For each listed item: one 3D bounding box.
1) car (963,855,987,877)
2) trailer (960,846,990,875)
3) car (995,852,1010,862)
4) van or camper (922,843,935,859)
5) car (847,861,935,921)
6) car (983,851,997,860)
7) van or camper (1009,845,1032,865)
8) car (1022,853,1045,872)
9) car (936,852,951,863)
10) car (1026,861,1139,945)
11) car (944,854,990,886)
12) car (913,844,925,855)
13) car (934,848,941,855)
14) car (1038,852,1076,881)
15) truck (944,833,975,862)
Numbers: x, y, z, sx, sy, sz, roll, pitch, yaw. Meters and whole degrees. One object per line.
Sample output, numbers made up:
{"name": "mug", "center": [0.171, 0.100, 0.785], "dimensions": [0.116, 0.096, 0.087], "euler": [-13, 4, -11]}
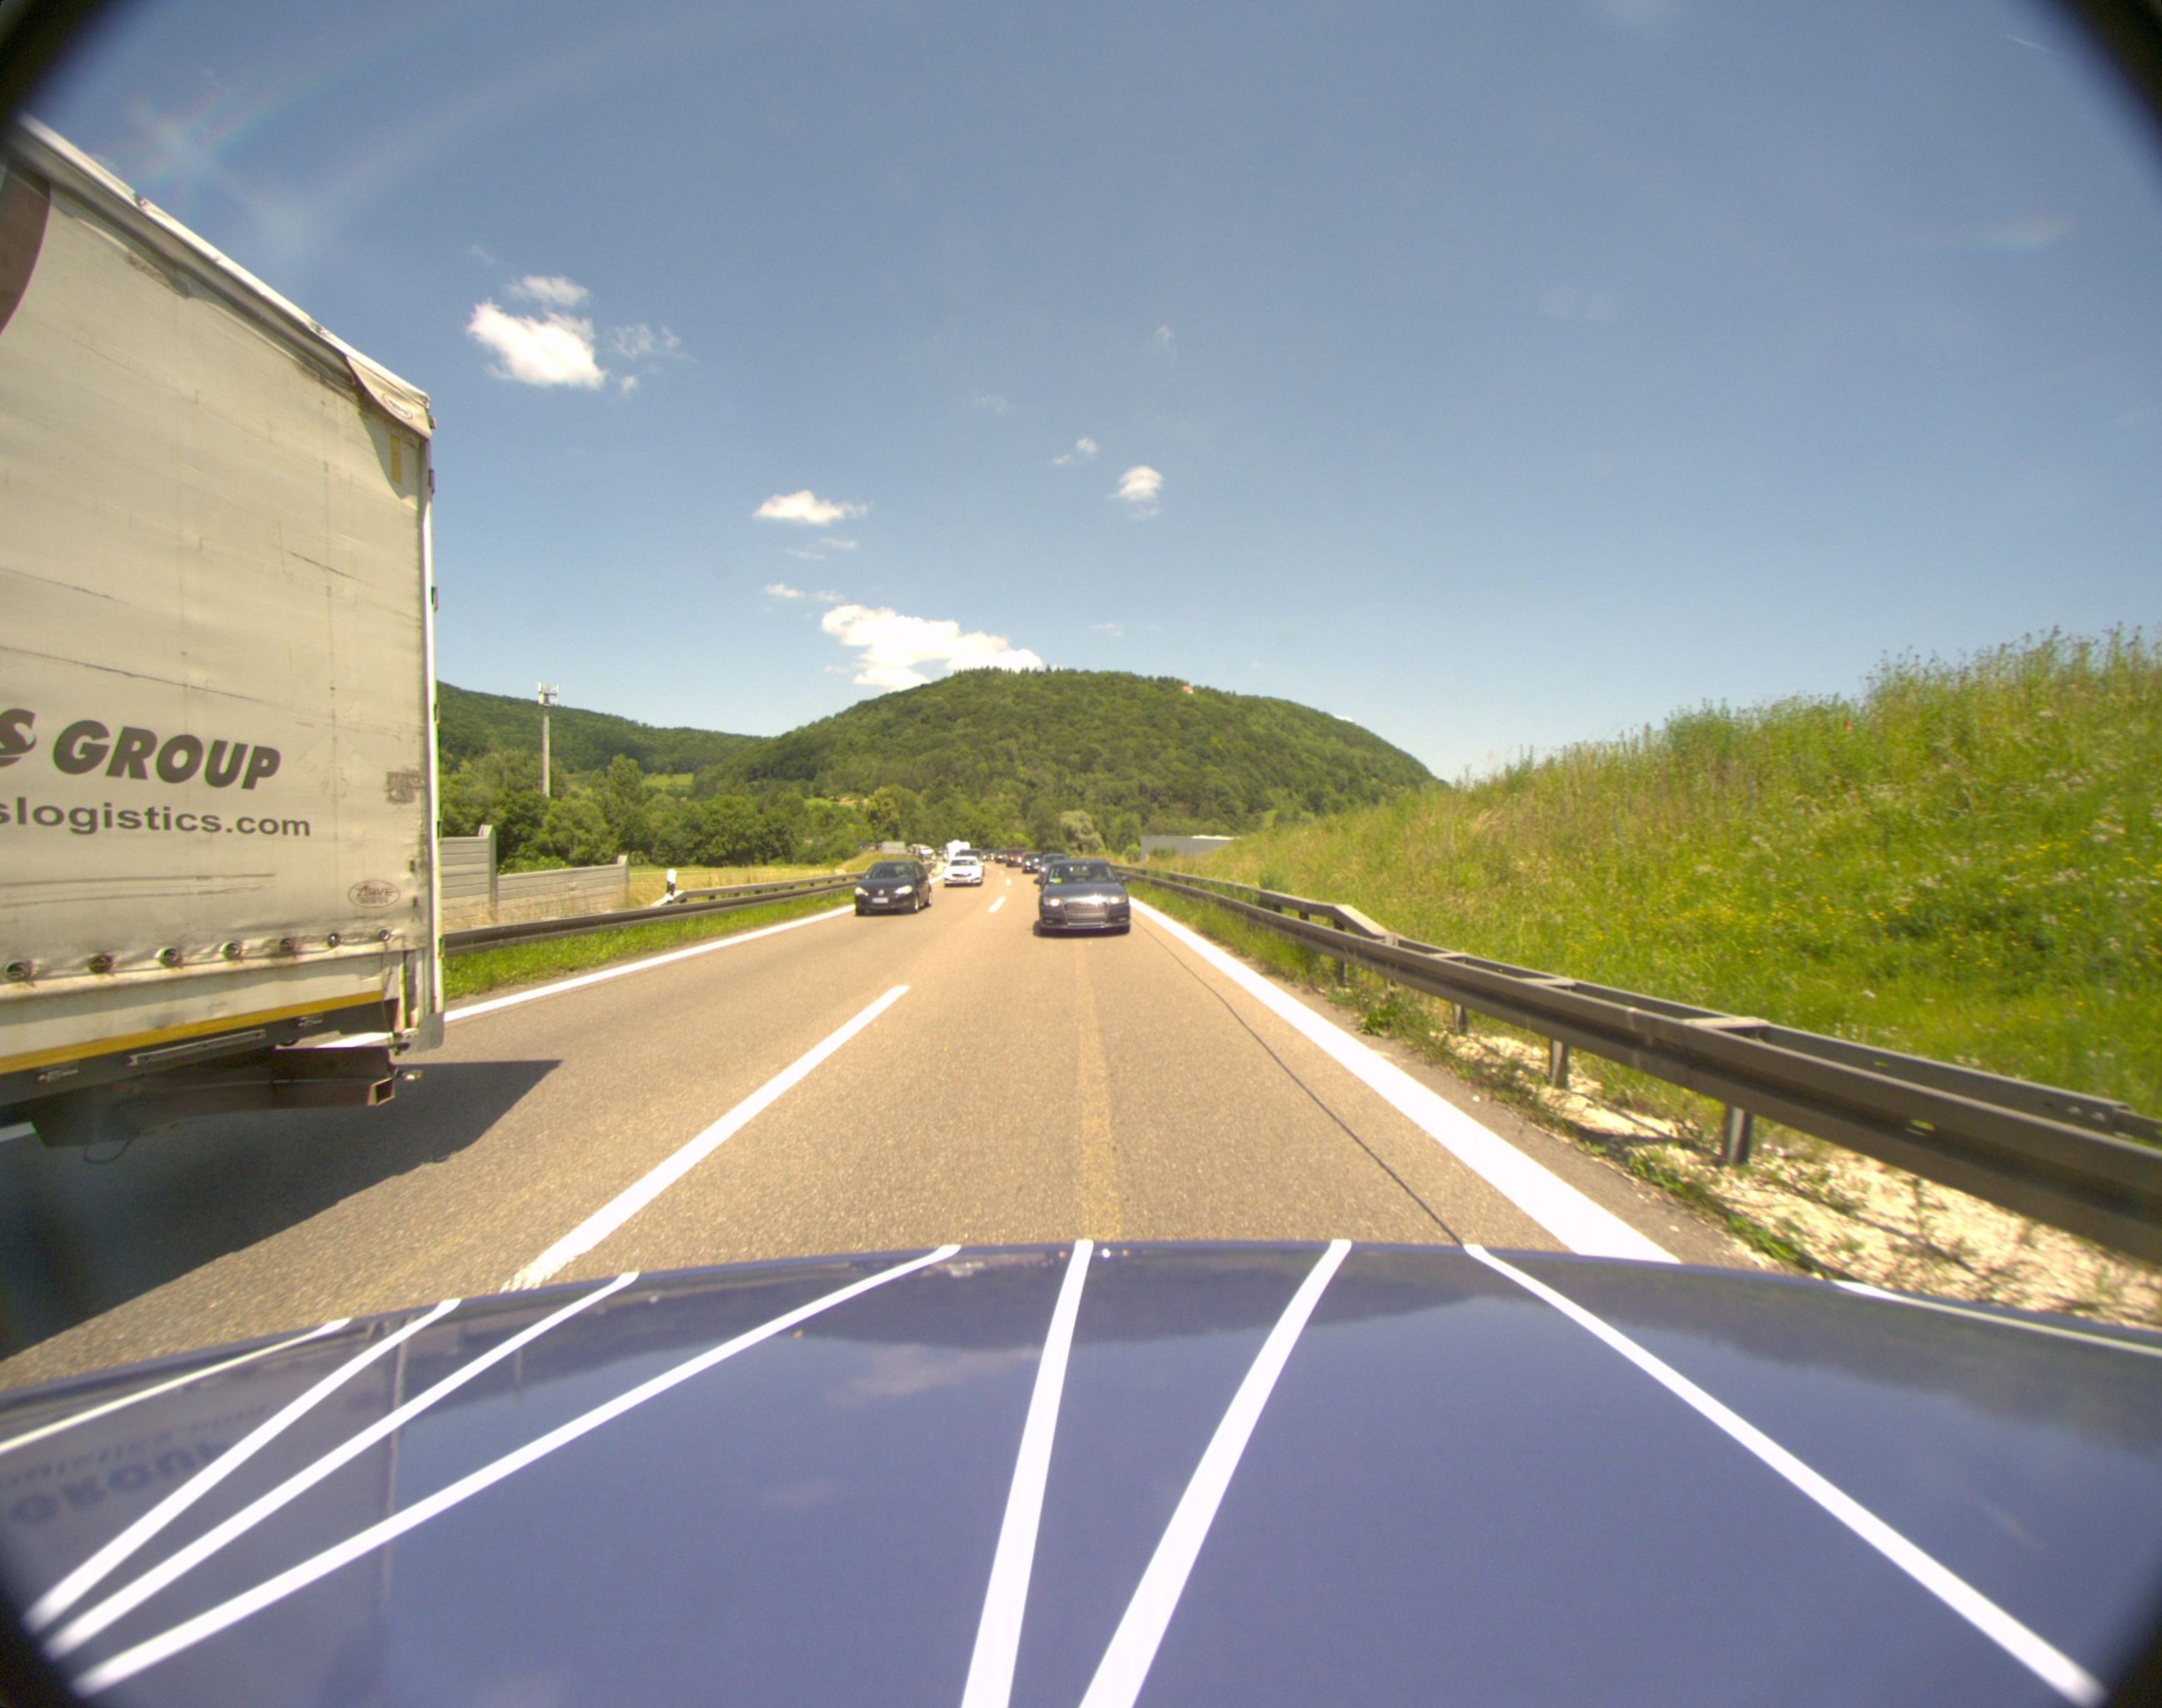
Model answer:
{"name": "car", "center": [-6.979, 0.762, 50.115], "dimensions": [1.490, 1.375, 3.735], "euler": [1, 0, -7]}
{"name": "trailer", "center": [-7.556, 0.465, 53.920], "dimensions": [2.000, 1.958, 3.997], "euler": [0, 0, -9]}
{"name": "car", "center": [-9.031, 0.329, 87.086], "dimensions": [1.492, 1.102, 3.211], "euler": [-2, 1, -10]}
{"name": "van or camper", "center": [-28.258, -0.573, 140.651], "dimensions": [1.912, 3.010, 4.867], "euler": [-1, 1, -17]}
{"name": "car", "center": [-5.257, 0.963, 21.472], "dimensions": [1.696, 1.414, 3.837], "euler": [-2, 0, -4]}
{"name": "car", "center": [-11.952, 0.241, 99.607], "dimensions": [1.492, 1.102, 3.210], "euler": [-3, 1, -13]}
{"name": "van or camper", "center": [-5.835, 0.077, 73.128], "dimensions": [1.819, 1.855, 3.610], "euler": [-2, 1, -9]}
{"name": "car", "center": [-3.537, 0.602, 55.828], "dimensions": [1.287, 1.305, 3.449], "euler": [-2, 1, -9]}
{"name": "car", "center": [-19.330, 0.484, 106.511], "dimensions": [1.700, 1.523, 3.675], "euler": [-4, 1, -14]}
{"name": "car", "center": [-0.112, 0.872, 15.352], "dimensions": [1.756, 1.382, 4.052], "euler": [-2, 0, -7]}
{"name": "car", "center": [-5.636, 0.777, 37.950], "dimensions": [1.908, 1.422, 3.721], "euler": [-3, 0, -3]}
{"name": "car", "center": [-31.811, -0.946, 149.382], "dimensions": [2.001, 2.002, 3.994], "euler": [-3, 1, -15]}
{"name": "car", "center": [-30.542, -0.464, 161.528], "dimensions": [1.247, 1.470, 2.957], "euler": [-4, 1, -14]}
{"name": "car", "center": [-1.306, 0.629, 39.805], "dimensions": [1.697, 1.422, 3.461], "euler": [-2, 1, -6]}
{"name": "truck", "center": [-14.215, -0.734, 88.805], "dimensions": [2.605, 3.089, 6.849], "euler": [-4, 1, -16]}
